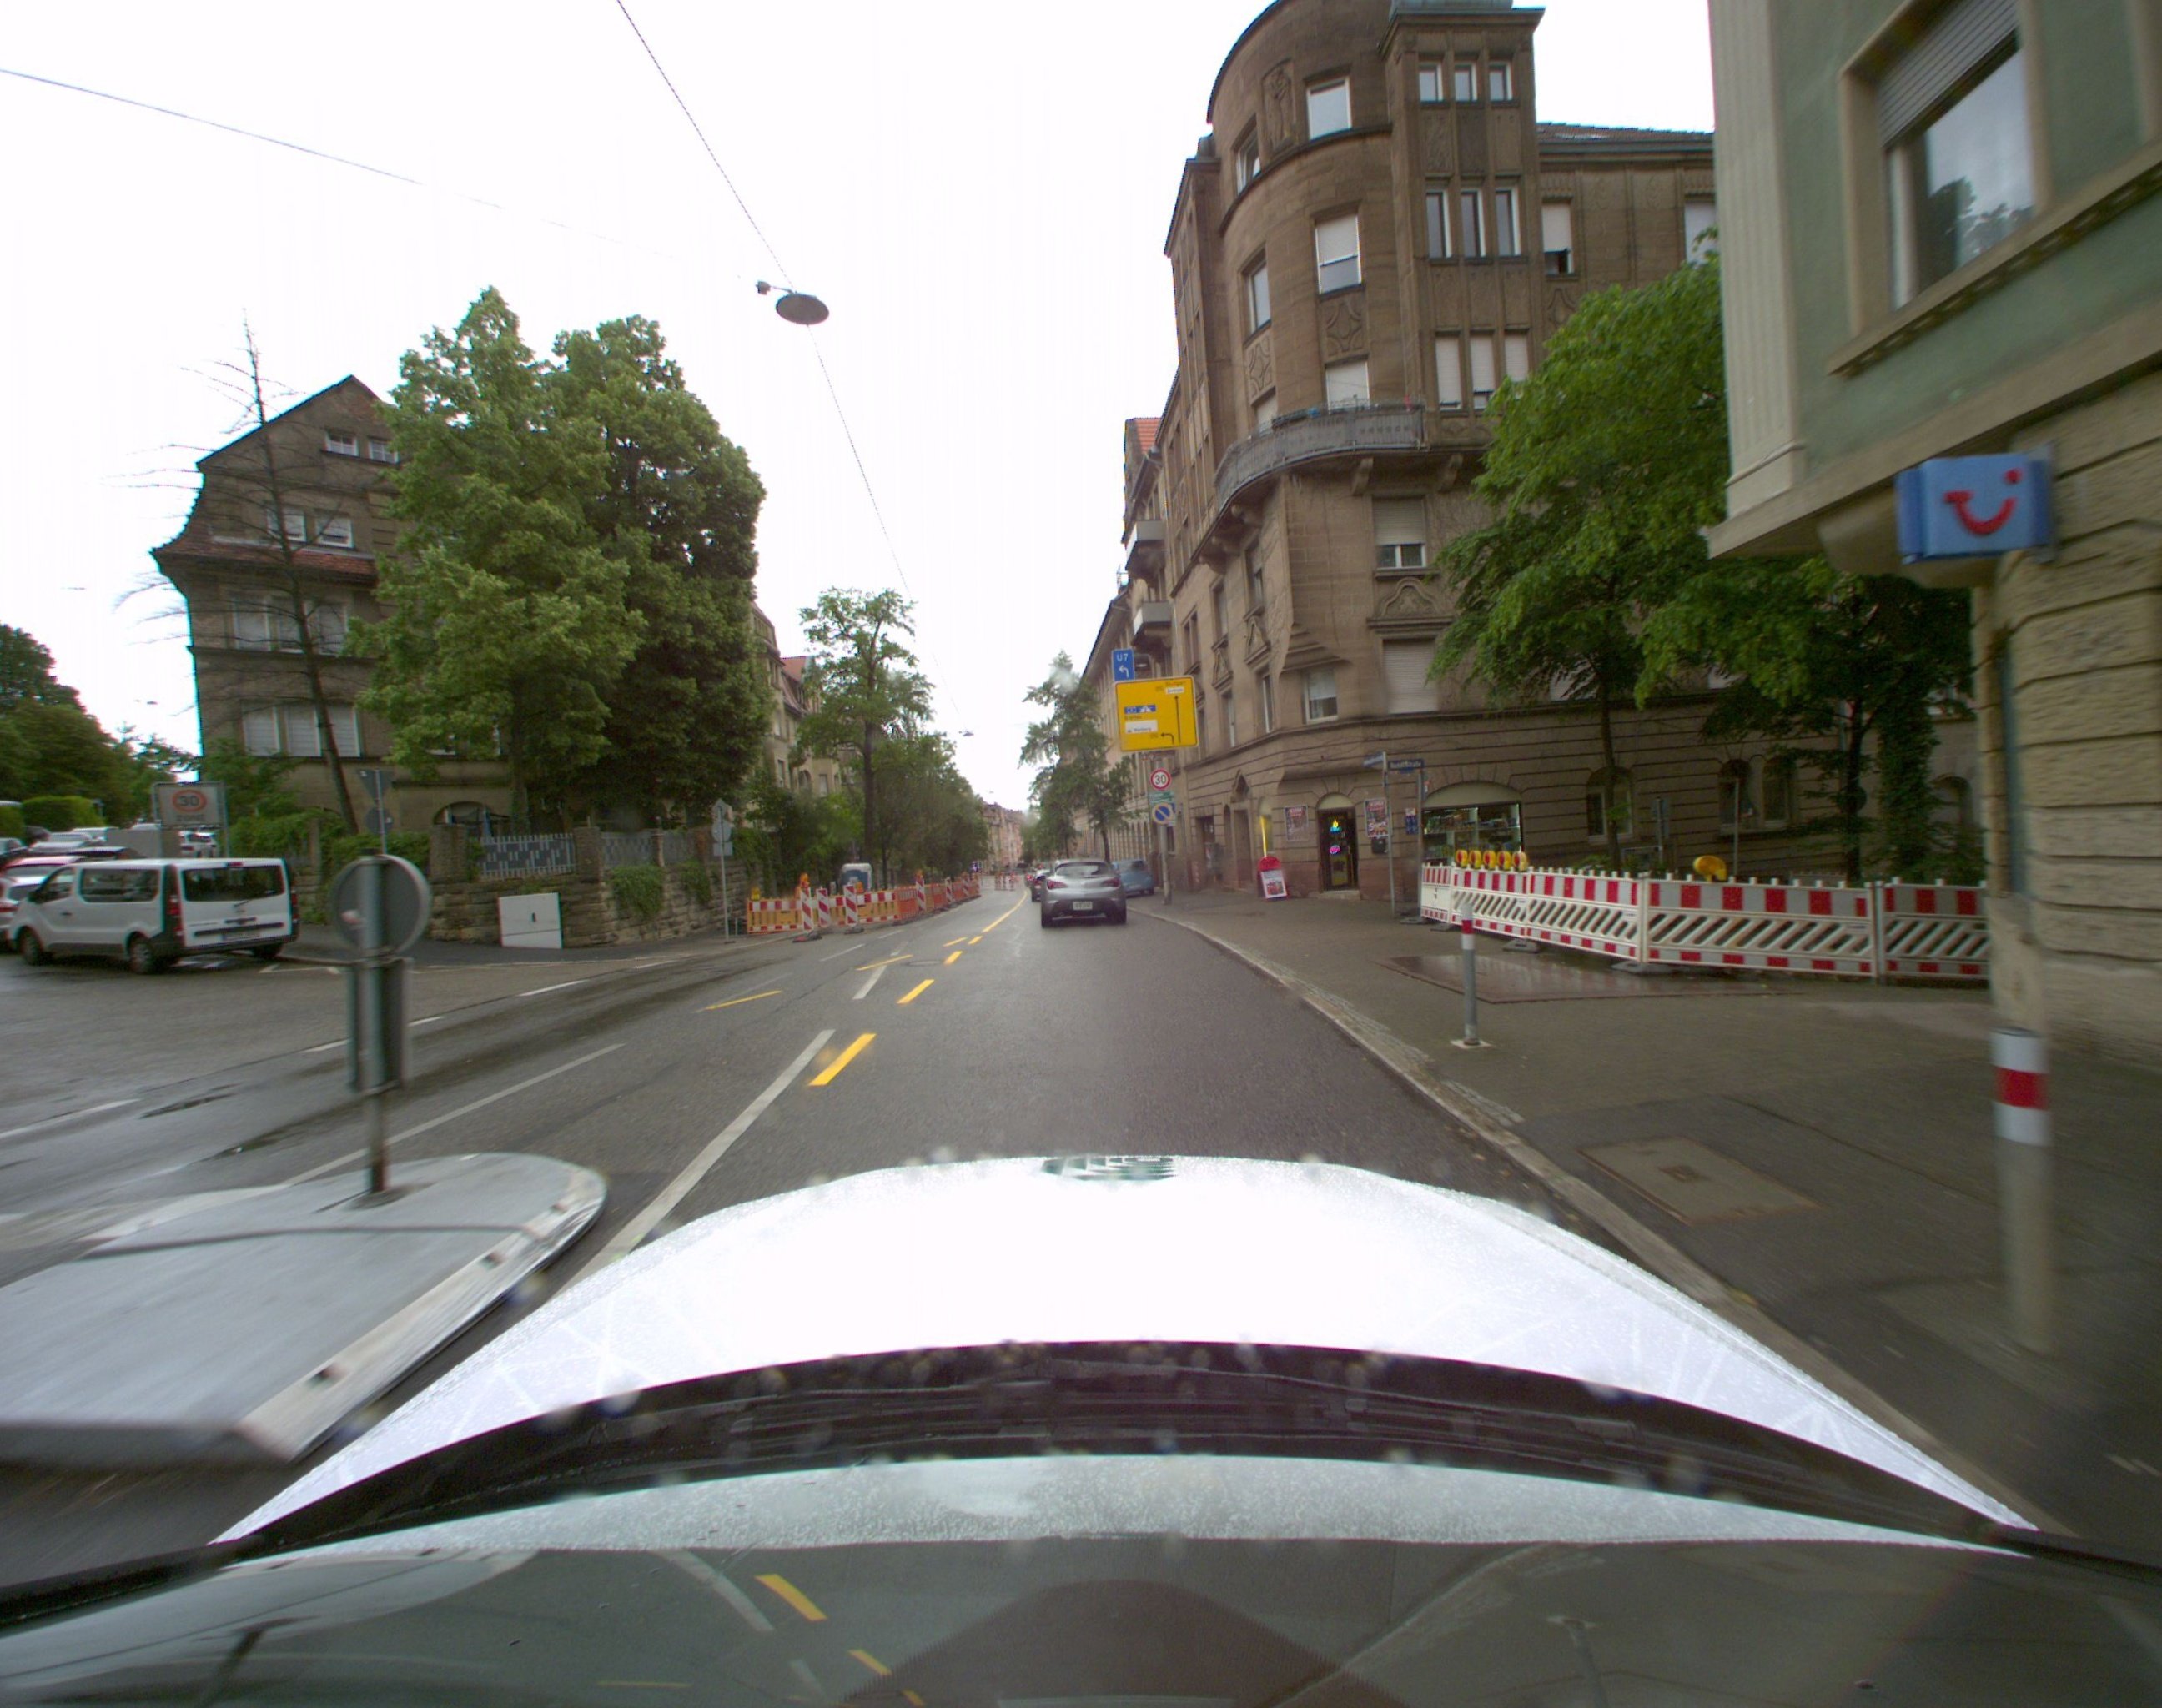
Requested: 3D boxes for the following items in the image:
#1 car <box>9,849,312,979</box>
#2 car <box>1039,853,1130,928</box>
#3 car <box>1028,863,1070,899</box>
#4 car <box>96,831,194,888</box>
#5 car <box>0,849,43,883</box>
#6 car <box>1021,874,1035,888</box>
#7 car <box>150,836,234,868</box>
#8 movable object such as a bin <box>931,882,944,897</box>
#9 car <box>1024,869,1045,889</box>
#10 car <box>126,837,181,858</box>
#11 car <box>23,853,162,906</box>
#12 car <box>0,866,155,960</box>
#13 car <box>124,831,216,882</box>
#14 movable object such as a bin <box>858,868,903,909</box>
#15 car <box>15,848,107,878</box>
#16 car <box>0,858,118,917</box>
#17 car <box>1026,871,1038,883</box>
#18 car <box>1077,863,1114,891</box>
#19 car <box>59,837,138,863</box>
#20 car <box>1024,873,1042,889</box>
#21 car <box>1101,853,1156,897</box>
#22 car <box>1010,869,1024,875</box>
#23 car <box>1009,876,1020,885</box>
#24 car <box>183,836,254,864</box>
[{"bbox_3d":[-17.540,1.016,15.581,4.627,2.048,2.034,2,2,16],"label":"car"},{"bbox_3d":[-0.009,0.782,18.595,1.807,1.449,3.865,-3,-1,-3],"label":"car"},{"bbox_3d":[-1.462,1.210,37.194,1.768,1.504,3.865,-3,-1,-3],"label":"car"},{"bbox_3d":[-35.851,0.211,31.300,1.805,2.041,3.891,3,-2,-40],"label":"car"},{"bbox_3d":[-47.347,0.493,35.414,1.930,1.409,3.943,2,-1,-40],"label":"car"},{"bbox_3d":[-6.966,3.534,106.586,1.654,1.543,3.658,-6,-1,-5],"label":"car"},{"bbox_3d":[-42.215,-0.090,38.794,2.124,1.409,4.391,2,-1,-40],"label":"car"},{"bbox_3d":[-12.749,3.152,72.430,0.943,1.214,0.855,-2,-1,-3],"label":"movable object such as a bin"},{"bbox_3d":[-4.179,2.229,72.890,1.654,1.543,3.659,-6,-1,-4],"label":"car"},{"bbox_3d":[-65.953,-0.435,57.975,1.973,1.409,4.408,2,-1,-41],"label":"car"},{"bbox_3d":[-32.546,0.815,26.976,2.124,1.627,4.391,2,-2,-40],"label":"car"},{"bbox_3d":[-22.518,1.180,17.766,4.387,1.513,2.127,3,4,29],"label":"car"},{"bbox_3d":[-38.579,0.136,34.599,1.932,2.012,4.391,2,-2,-40],"label":"car"},{"bbox_3d":[-12.402,2.100,50.524,1.988,2.299,2.814,-5,-1,-1],"label":"movable object such as a bin"},{"bbox_3d":[-53.228,0.521,42.595,2.124,1.409,4.390,2,-3,-40],"label":"car"},{"bbox_3d":[-29.125,0.890,22.940,2.045,1.535,4.389,2,-2,-43],"label":"car"},{"bbox_3d":[-8.334,3.851,138.520,1.713,1.782,3.658,-7,-1,-5],"label":"car"},{"bbox_3d":[0.842,1.411,50.038,1.693,1.431,4.413,-7,-1,-6],"label":"car"},{"bbox_3d":[-57.053,-0.253,47.387,2.124,1.409,4.391,2,0,-40],"label":"car"},{"bbox_3d":[-5.175,2.929,87.465,1.654,1.543,3.658,-6,-1,-5],"label":"car"},{"bbox_3d":[1.898,0.888,33.777,1.654,1.543,3.658,-6,-1,-5],"label":"car"},{"bbox_3d":[-18.457,5.256,235.453,3.980,1.750,1.996,-1,-2,-5],"label":"car"},{"bbox_3d":[-12.589,4.984,153.702,1.992,1.501,3.990,-4,-2,-7],"label":"car"},{"bbox_3d":[-46.797,-0.231,44.282,2.124,1.409,4.391,2,-1,-40],"label":"car"}]
